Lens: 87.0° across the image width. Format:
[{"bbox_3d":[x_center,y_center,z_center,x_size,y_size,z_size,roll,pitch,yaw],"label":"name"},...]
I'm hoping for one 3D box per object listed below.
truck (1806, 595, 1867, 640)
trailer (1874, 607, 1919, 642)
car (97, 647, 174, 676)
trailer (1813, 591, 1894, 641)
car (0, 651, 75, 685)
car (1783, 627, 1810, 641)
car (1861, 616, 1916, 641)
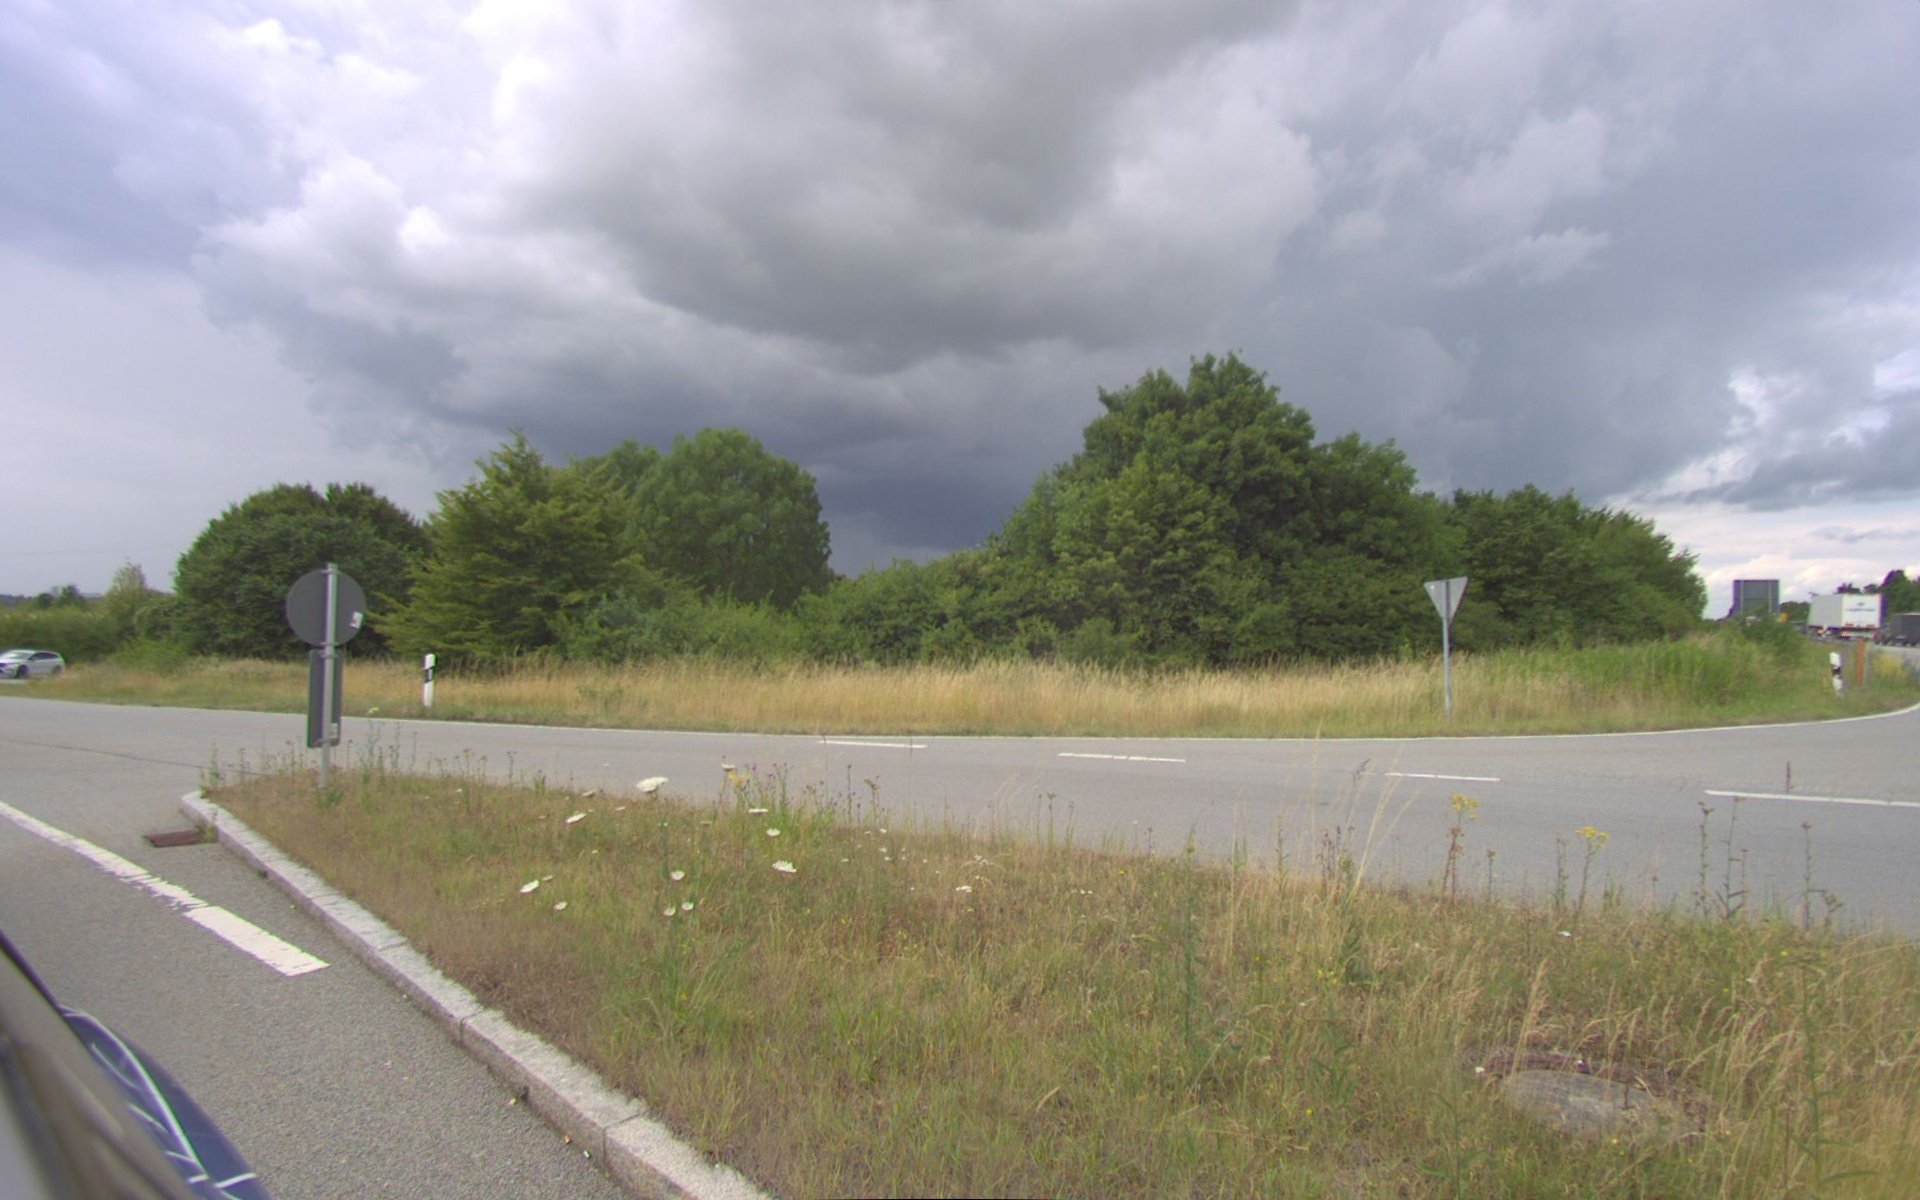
[{"bbox_3d":[81.859,1.634,94.642,3.119,4.044,7.227,1,-1,32],"label":"truck"},{"bbox_3d":[65.623,1.688,70.208,2.408,2.310,4.349,1,-1,31],"label":"trailer"},{"bbox_3d":[-56.643,4.209,69.644,1.967,1.732,5.222,3,-3,-13],"label":"car"},{"bbox_3d":[78.574,1.452,89.329,3.119,4.044,13.734,1,-1,32],"label":"trailer"},{"bbox_3d":[-53.811,3.881,58.332,1.966,1.732,5.222,3,-3,-14],"label":"car"},{"bbox_3d":[95.428,3.893,115.480,1.995,1.614,4.174,-1,-3,34],"label":"car"},{"bbox_3d":[67.823,2.094,73.996,1.992,1.695,4.432,1,-1,30],"label":"car"}]
